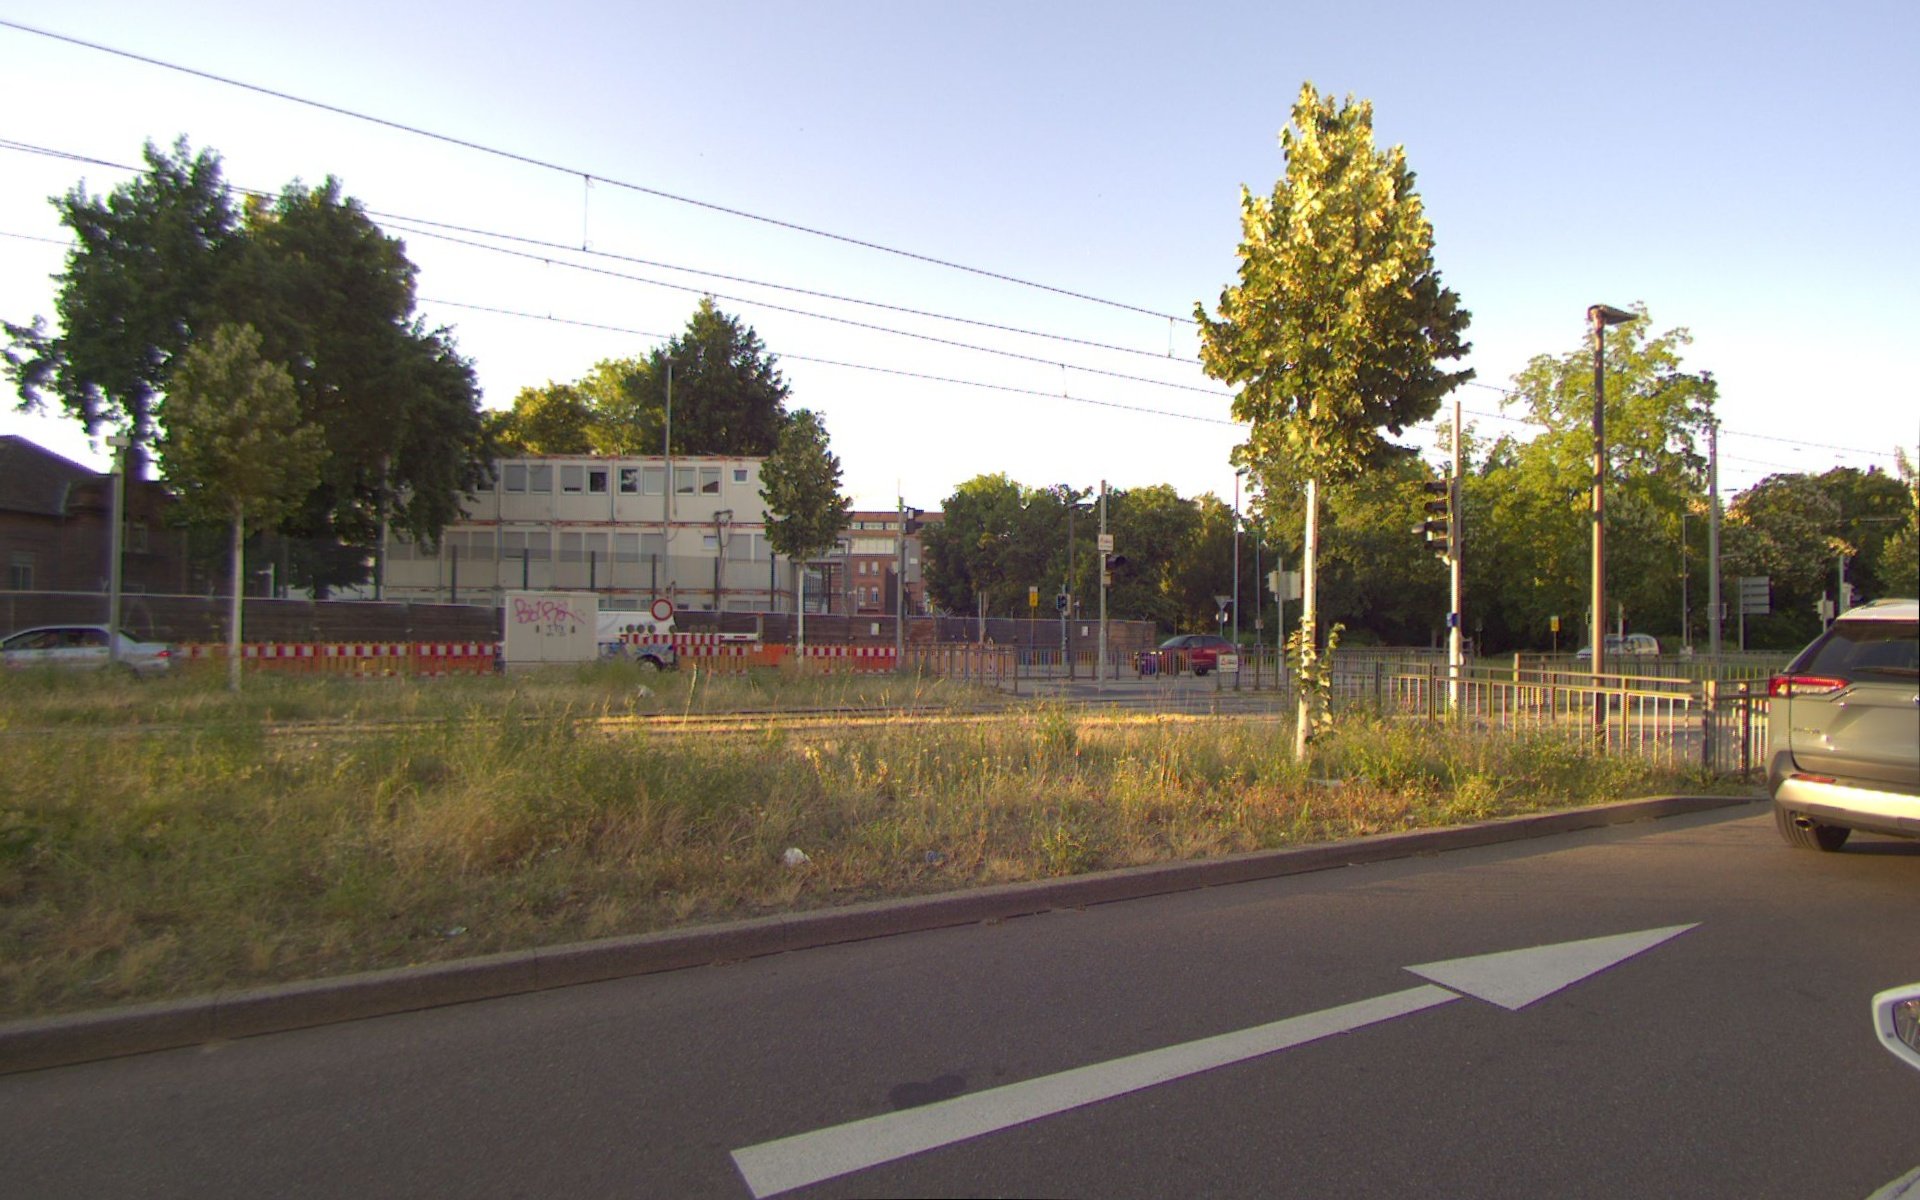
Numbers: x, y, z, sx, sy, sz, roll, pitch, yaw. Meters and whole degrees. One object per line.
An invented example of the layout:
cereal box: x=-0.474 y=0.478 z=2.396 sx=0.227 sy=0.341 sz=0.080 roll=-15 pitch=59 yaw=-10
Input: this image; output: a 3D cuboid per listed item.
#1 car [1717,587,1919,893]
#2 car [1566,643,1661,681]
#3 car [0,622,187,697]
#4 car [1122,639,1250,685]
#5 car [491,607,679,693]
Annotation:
car: x=7.062 y=0.774 z=6.596 sx=4.217 sy=1.681 sz=1.846 roll=0 pitch=0 yaw=-30
car: x=27.102 y=2.543 z=41.675 sx=3.737 sy=1.501 sz=1.792 roll=1 pitch=-2 yaw=-29
car: x=-20.087 y=1.282 z=22.212 sx=4.467 sy=1.501 sz=1.985 roll=0 pitch=0 yaw=-29
car: x=8.482 y=2.273 z=37.618 sx=4.463 sy=1.501 sz=1.987 roll=0 pitch=0 yaw=-27
car: x=-10.332 y=1.286 z=27.711 sx=4.690 sy=2.197 sz=1.986 roll=0 pitch=0 yaw=-28
